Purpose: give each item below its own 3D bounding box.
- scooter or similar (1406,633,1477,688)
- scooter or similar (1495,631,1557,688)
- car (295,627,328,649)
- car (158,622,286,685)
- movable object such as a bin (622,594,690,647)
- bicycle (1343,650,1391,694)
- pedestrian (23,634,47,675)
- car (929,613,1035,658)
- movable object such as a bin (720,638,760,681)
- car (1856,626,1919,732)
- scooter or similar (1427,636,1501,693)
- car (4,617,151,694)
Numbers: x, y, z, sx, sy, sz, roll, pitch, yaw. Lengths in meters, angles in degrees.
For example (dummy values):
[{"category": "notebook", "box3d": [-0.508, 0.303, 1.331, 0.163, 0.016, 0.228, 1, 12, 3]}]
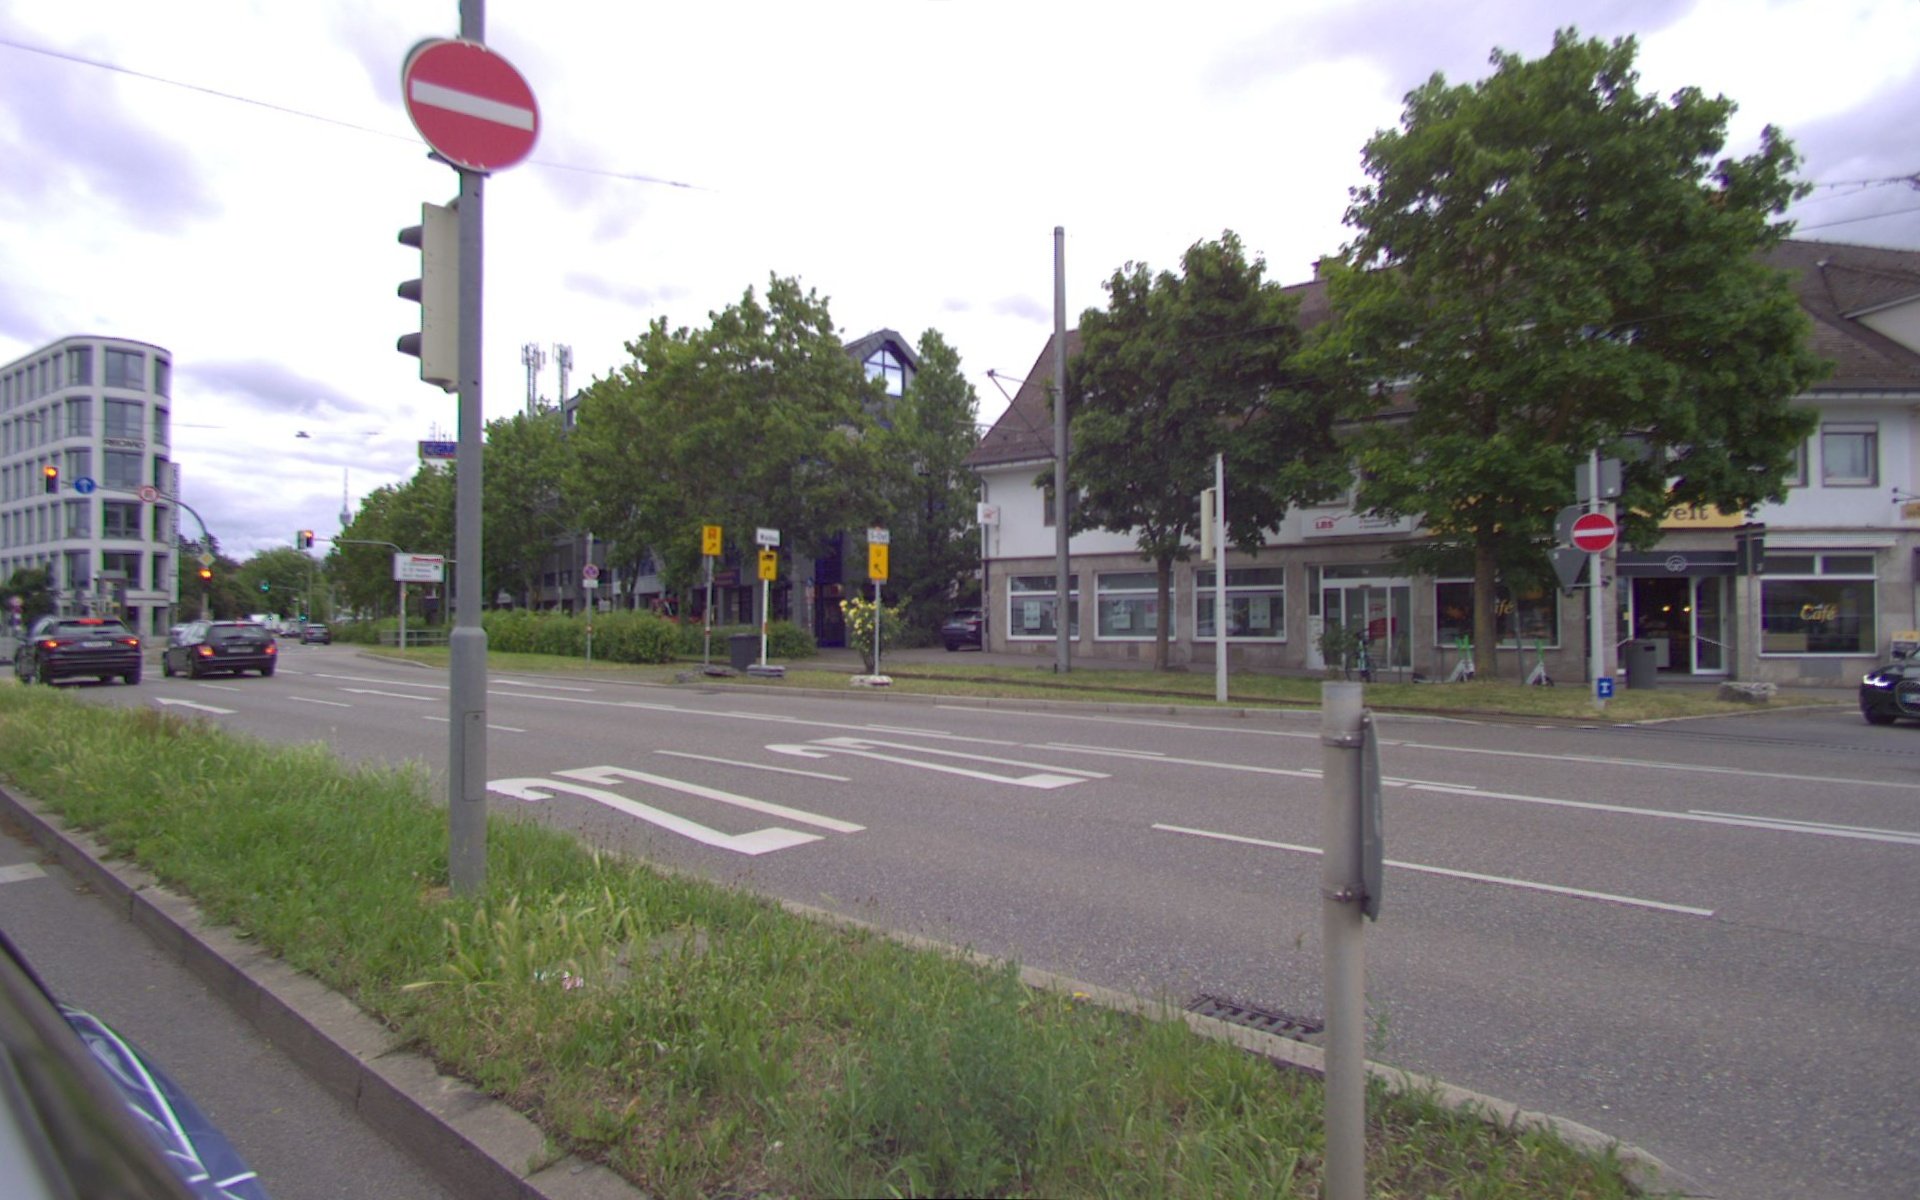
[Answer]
[{"category": "scooter or similar", "box3d": [10.048, 1.253, 21.141, 0.594, 1.094, 1.178, 1, -2, -39]}, {"category": "scooter or similar", "box3d": [11.190, 1.162, 20.017, 0.418, 1.094, 0.993, 1, -2, -43]}, {"category": "car", "box3d": [-50.066, 2.929, 78.102, 1.760, 1.549, 4.405, -1, -1, -37]}, {"category": "car", "box3d": [-19.059, 1.374, 26.064, 4.394, 1.436, 1.764, -3, -2, 42]}, {"category": "movable object such as a bin", "box3d": [-15.386, 1.028, 51.037, 1.881, 2.551, 4.135, 1, -2, -39]}, {"category": "bicycle", "box3d": [8.075, 1.423, 20.064, 0.424, 0.811, 1.244, -2, -2, 44]}, {"category": "pedestrian", "box3d": [-44.530, 2.624, 48.718, 0.745, 1.932, 0.589, 4, -6, -40]}, {"category": "car", "box3d": [0.854, 1.268, 36.695, 1.856, 1.436, 3.952, -3, -1, 37]}, {"category": "movable object such as a bin", "box3d": [-5.373, 1.442, 24.721, 0.838, 1.020, 0.557, -2, -2, 42]}, {"category": "car", "box3d": [14.777, 1.055, 14.114, 4.602, 1.391, 1.832, 1, -2, -27]}, {"category": "scooter or similar", "box3d": [9.787, 1.238, 19.673, 0.483, 1.053, 1.179, 1, -2, -35]}, {"category": "car", "box3d": [-20.433, 1.274, 23.379, 4.391, 1.576, 1.869, -3, -2, 40]}]
